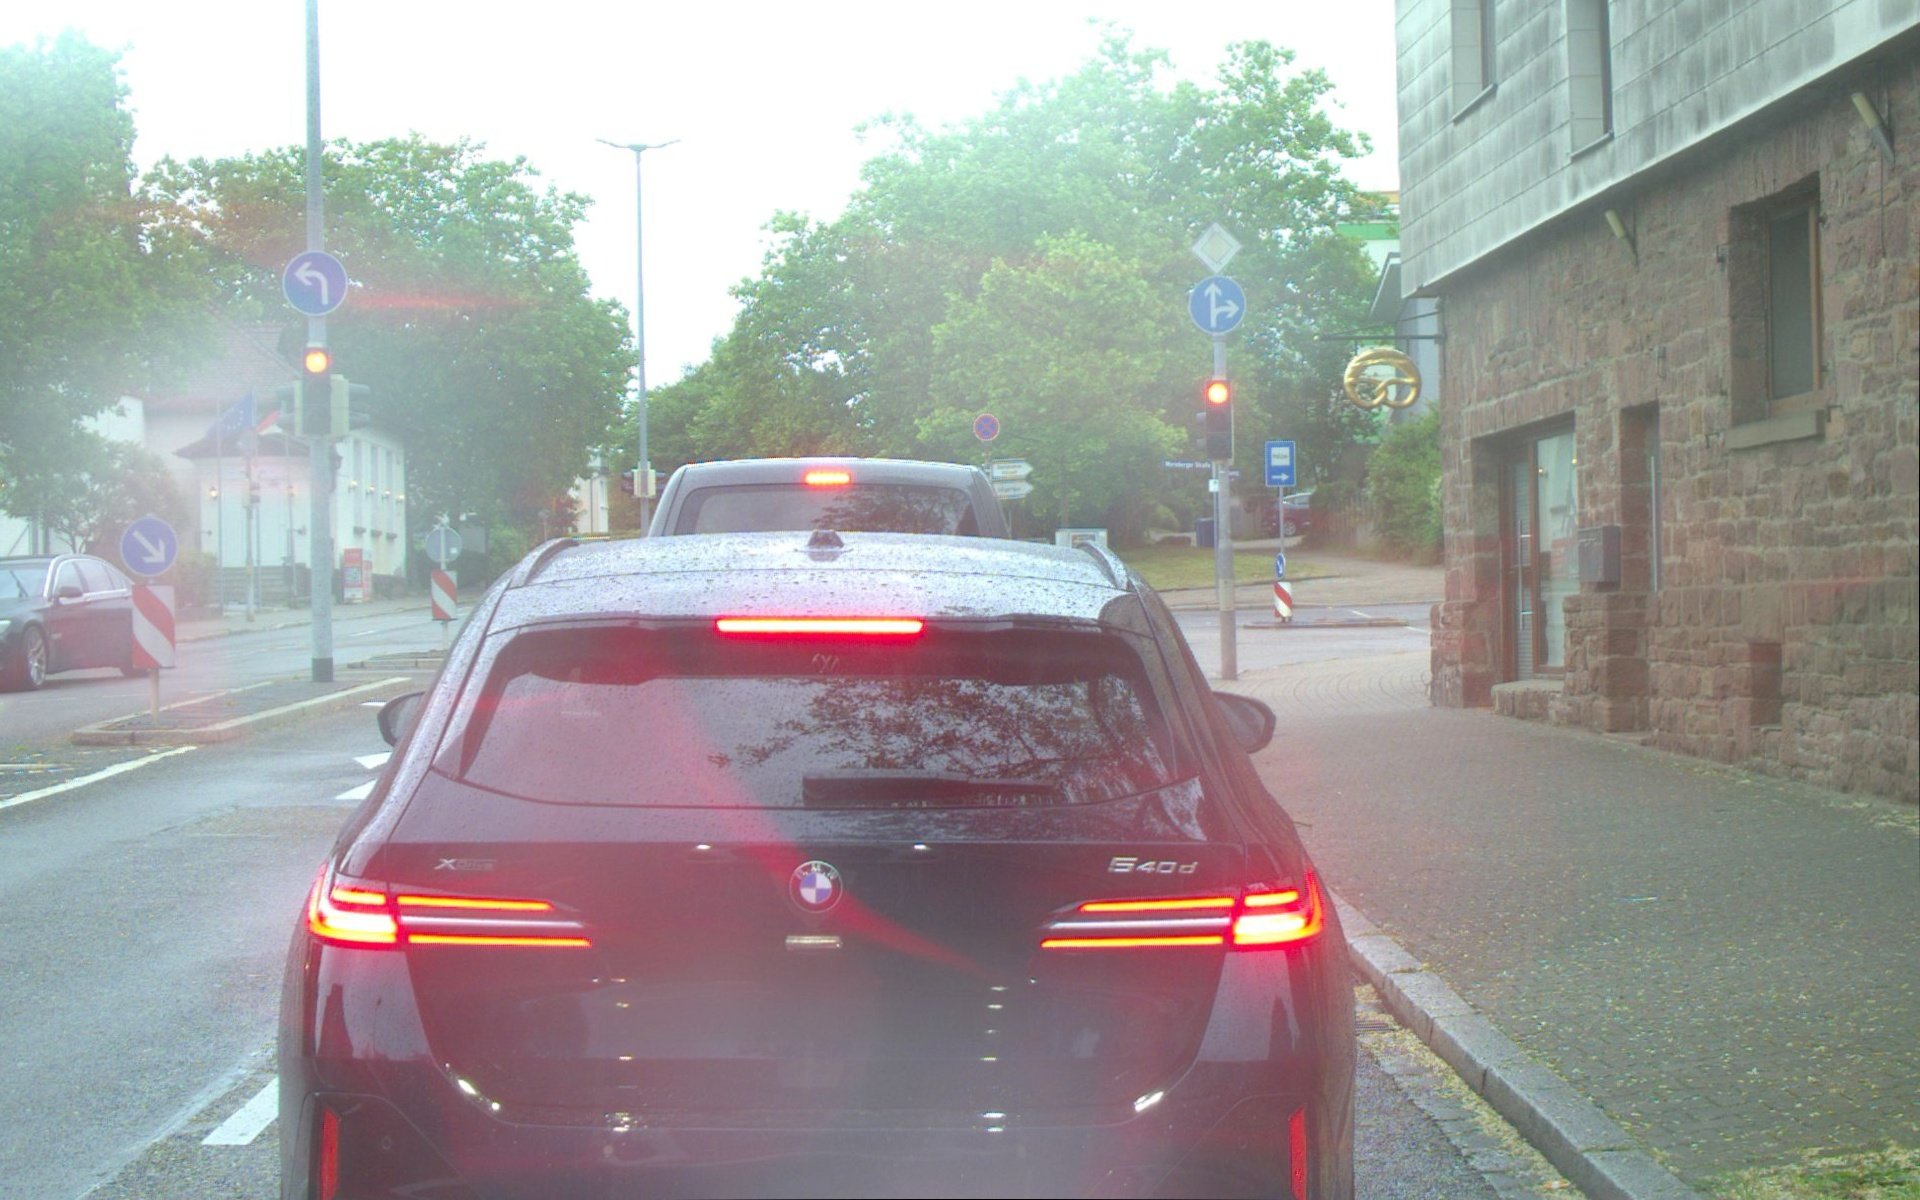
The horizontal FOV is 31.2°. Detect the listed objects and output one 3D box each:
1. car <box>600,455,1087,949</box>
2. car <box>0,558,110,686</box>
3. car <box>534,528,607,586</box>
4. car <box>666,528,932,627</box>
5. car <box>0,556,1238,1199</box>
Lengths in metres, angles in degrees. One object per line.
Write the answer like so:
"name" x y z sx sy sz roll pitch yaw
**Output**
"car" -0.520 0.329 14.668 1.783 1.811 4.001 0 1 -3
"car" -10.767 0.210 37.765 1.842 1.284 4.000 0 1 0
"car" -9.642 -1.073 85.195 1.464 1.393 3.322 0 1 -1
"car" -2.616 -0.390 56.257 3.987 1.546 1.824 -1 2 -35
"car" -0.737 0.642 7.406 2.064 1.441 4.484 0 1 -3
